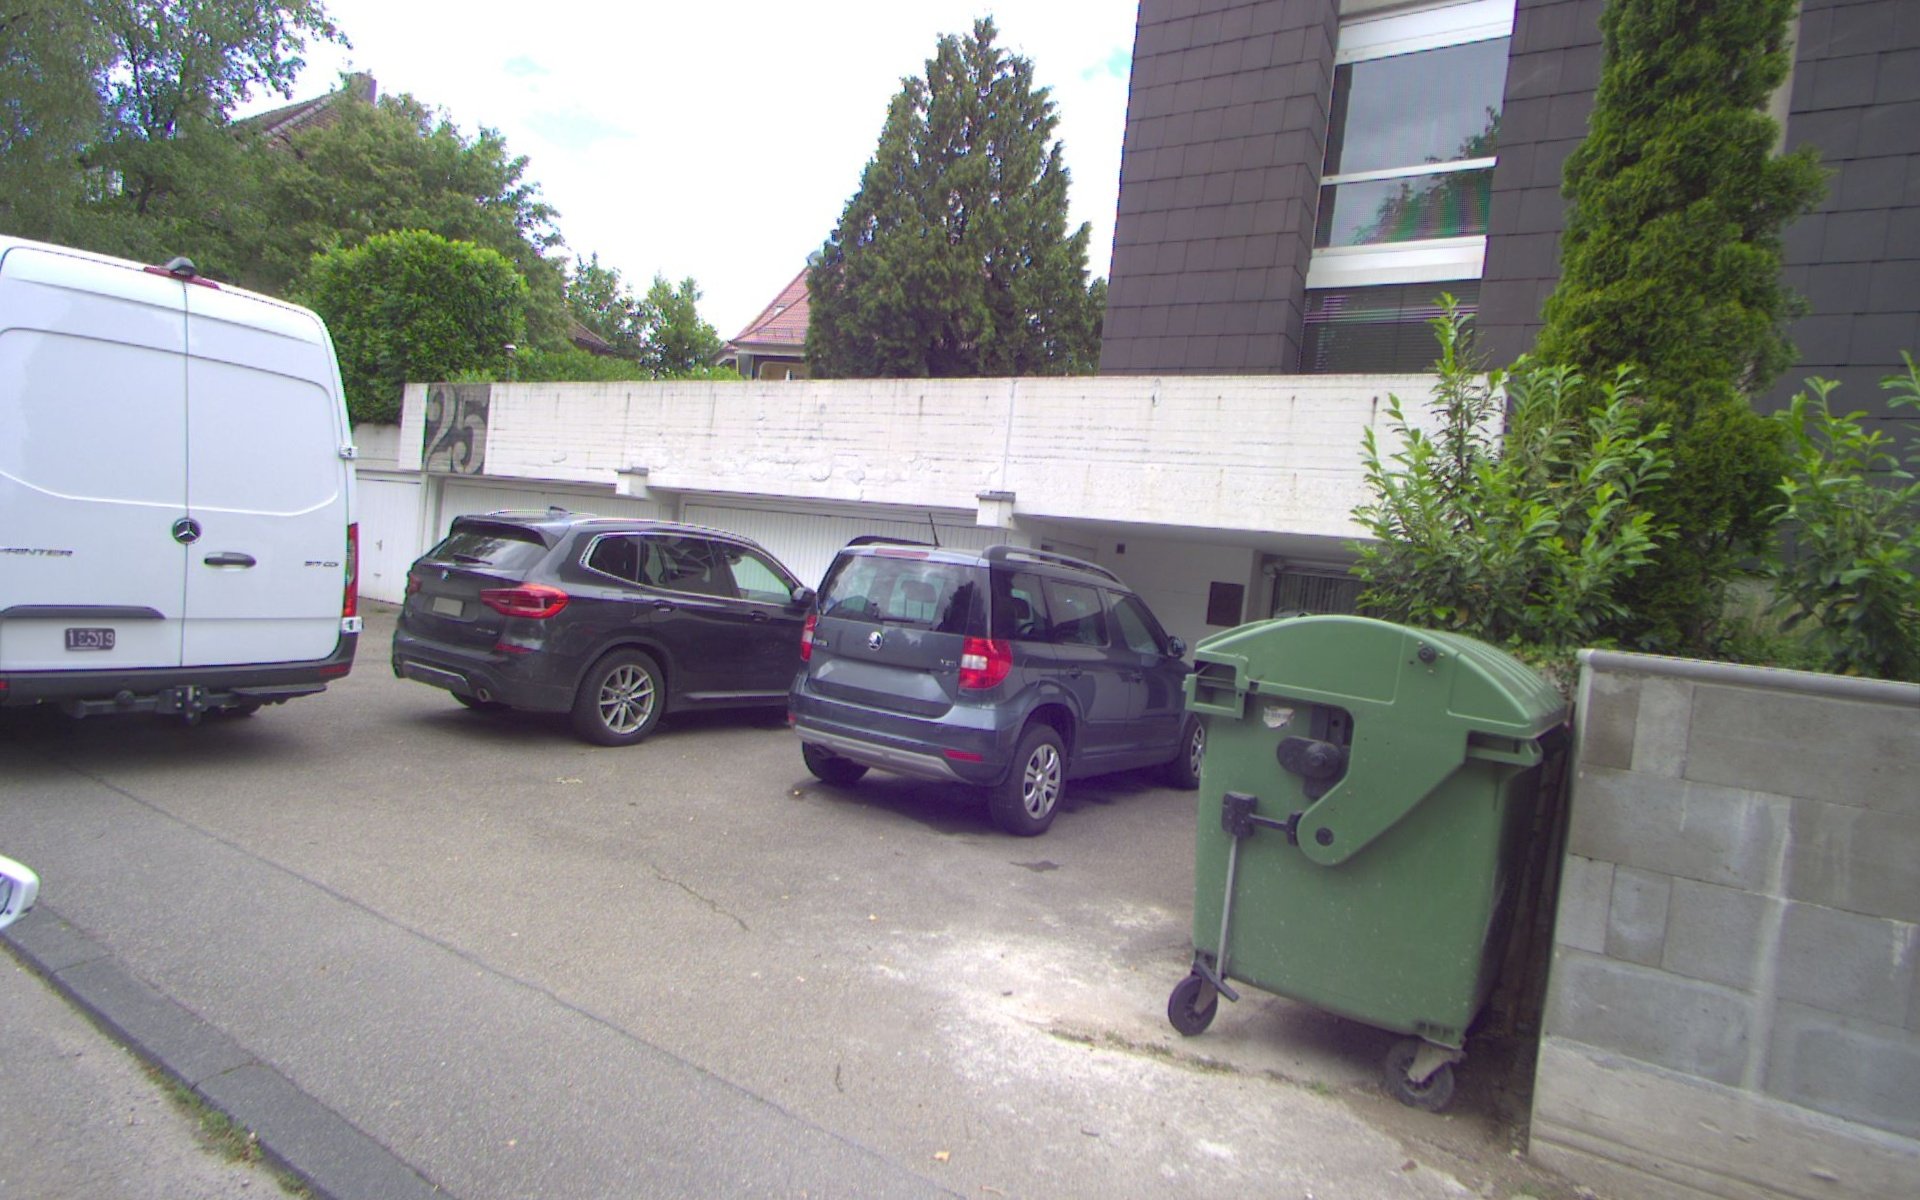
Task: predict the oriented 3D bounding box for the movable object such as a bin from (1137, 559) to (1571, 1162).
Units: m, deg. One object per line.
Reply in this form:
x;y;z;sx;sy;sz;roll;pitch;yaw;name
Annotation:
1.355;0.717;3.390;1.016;1.550;1.034;7;2;33;movable object such as a bin

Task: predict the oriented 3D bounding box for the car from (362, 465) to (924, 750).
-2.358;0.112;8.677;1.710;1.772;4.419;7;1;33;car

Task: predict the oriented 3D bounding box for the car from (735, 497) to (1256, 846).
0.537;0.442;7.396;1.804;1.772;3.973;7;1;35;car

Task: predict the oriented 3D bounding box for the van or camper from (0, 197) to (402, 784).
-6.702;-0.745;6.900;6.432;2.653;1.995;7;1;32;van or camper
